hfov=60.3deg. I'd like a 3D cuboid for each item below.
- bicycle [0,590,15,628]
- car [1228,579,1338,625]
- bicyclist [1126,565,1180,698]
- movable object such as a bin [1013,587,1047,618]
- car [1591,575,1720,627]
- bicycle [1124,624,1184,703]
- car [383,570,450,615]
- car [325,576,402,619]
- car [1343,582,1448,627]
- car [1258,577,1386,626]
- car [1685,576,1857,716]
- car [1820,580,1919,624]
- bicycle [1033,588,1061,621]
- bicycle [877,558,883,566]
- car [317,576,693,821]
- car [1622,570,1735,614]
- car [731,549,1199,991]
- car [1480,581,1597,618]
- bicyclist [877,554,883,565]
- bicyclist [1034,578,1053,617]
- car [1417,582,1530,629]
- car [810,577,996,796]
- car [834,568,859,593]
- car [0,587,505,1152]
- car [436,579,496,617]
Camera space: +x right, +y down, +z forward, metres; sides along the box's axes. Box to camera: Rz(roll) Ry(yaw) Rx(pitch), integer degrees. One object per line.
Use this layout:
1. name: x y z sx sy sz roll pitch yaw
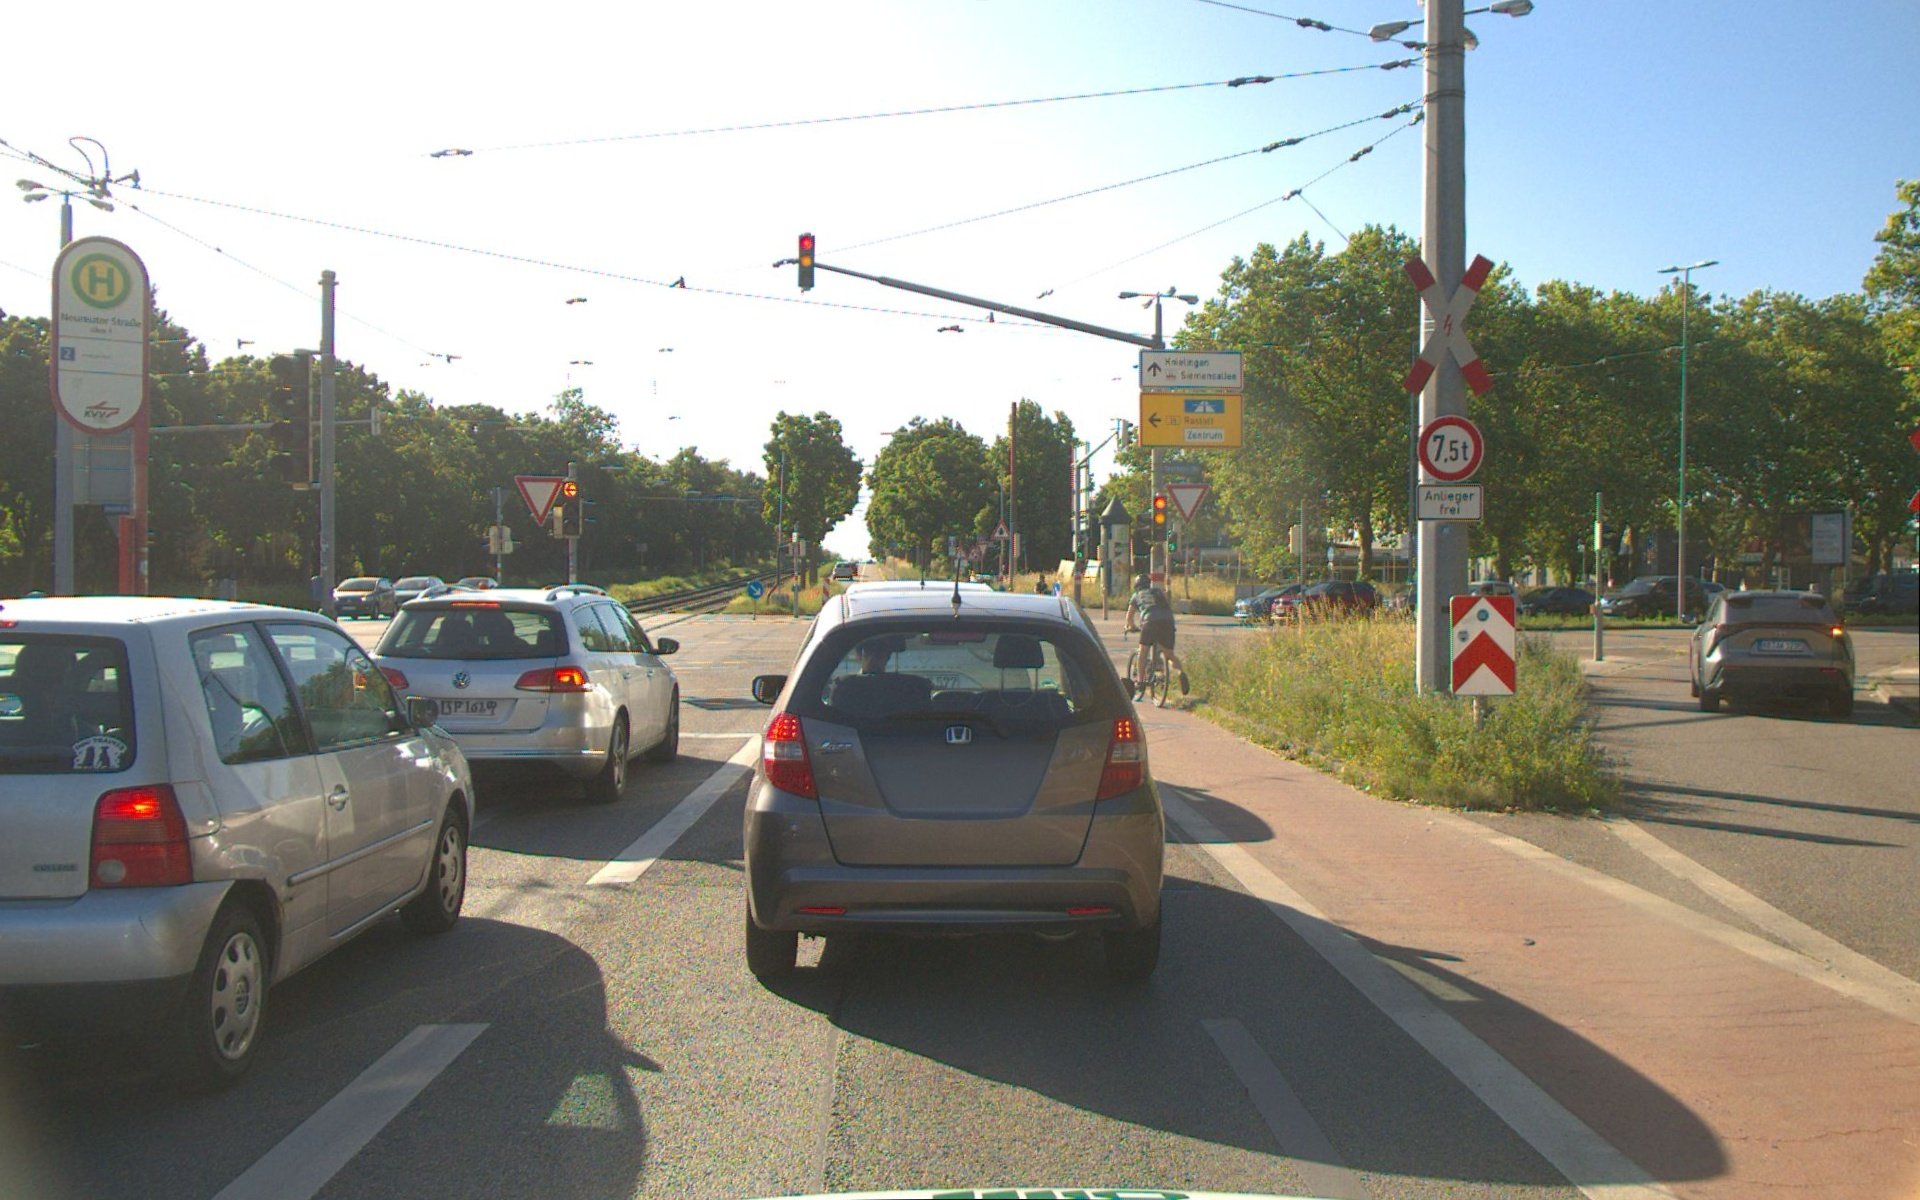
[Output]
1. bicycle: -26.973 0.263 45.806 0.497 1.060 1.948 0 1 -2
2. car: 11.801 0.057 60.354 3.806 1.628 1.696 -1 0 -30
3. bicyclist: 2.534 0.402 21.799 0.602 1.709 0.933 0 0 0
4. movable object such as a bin: 2.531 0.081 60.020 0.893 1.087 1.311 1 0 -15
5. car: 24.371 0.018 57.937 4.432 1.741 1.902 -1 0 -30
6. bicycle: 2.547 0.818 21.903 0.513 0.939 2.089 0 0 -1
7. car: -21.316 -0.317 65.002 1.757 1.717 3.994 0 1 -8
8. car: -21.176 -0.114 58.812 1.650 1.484 3.700 0 1 -5
9. car: 16.614 0.151 63.015 3.806 1.628 1.696 -1 0 -30
10. car: 12.295 0.033 56.172 4.026 1.628 1.801 -1 0 -26
11. car: 11.079 0.549 22.815 1.783 1.734 3.773 1 1 21
12. car: 44.958 0.081 81.006 5.023 2.106 2.120 0 1 -18
13. bicycle: 3.051 0.135 58.230 0.459 1.138 1.813 0 1 -15
14. bicycle: -11.729 -5.533 243.084 0.801 1.066 2.505 1 0 -2
15. car: -3.267 0.605 12.810 1.839 1.554 4.419 0 0 -2
16. car: 30.085 -0.317 69.270 4.708 1.711 1.891 1 0 -29
17. car: -0.006 0.577 7.651 1.637 1.542 3.673 0 0 -1
18. car: 23.076 -0.027 65.973 4.504 1.432 1.917 -1 0 -28
19. bicyclist: -11.715 -5.904 243.105 0.801 1.551 0.965 1 0 -2
20. bicyclist: 2.957 -0.095 58.664 0.501 1.364 0.563 0 0 -16
21. car: 18.501 0.167 59.604 3.800 1.628 1.699 -1 0 -26
22. car: -0.466 0.605 13.417 1.324 1.554 3.122 0 0 -2
23. car: -9.751 -1.668 142.069 1.953 2.049 3.998 1 0 -2
24. car: -2.873 0.709 6.113 1.549 1.494 3.413 0 1 -2
25. car: -21.861 -0.129 73.291 1.779 1.624 4.686 0 1 -7
